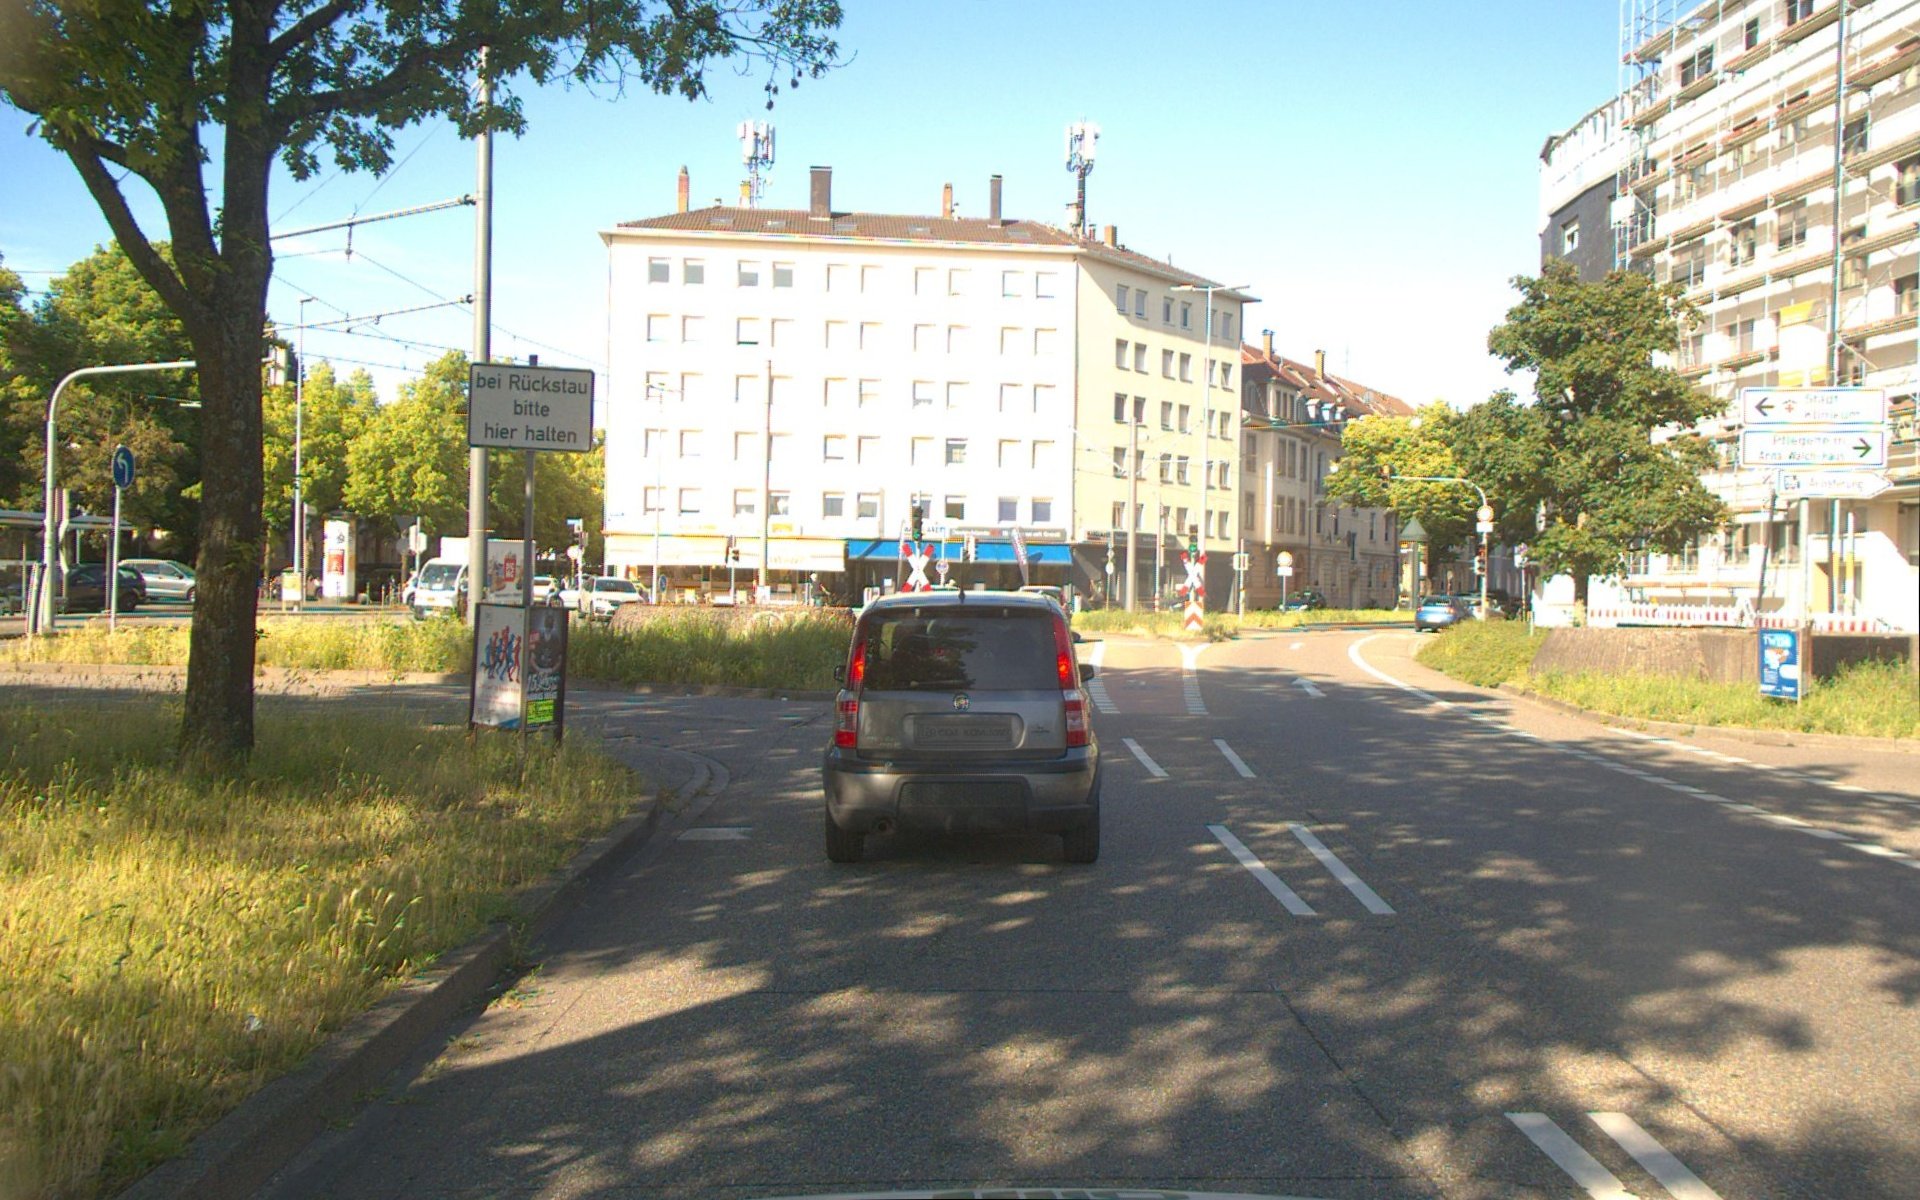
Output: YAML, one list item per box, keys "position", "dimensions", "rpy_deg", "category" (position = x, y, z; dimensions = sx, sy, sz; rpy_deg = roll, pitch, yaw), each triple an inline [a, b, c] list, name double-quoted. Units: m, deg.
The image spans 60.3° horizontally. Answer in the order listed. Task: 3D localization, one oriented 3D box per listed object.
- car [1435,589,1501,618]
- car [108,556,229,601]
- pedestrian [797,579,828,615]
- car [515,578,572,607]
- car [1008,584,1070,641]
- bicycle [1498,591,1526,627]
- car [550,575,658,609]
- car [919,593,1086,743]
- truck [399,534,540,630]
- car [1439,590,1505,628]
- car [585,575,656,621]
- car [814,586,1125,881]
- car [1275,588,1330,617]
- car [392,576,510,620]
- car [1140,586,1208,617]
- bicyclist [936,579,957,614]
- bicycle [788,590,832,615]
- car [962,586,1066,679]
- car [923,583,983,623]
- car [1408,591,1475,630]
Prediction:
- position: [29.843, 0.184, 97.328]
  dimensions: [1.873, 1.621, 3.984]
  rpy_deg: [1, 1, -15]
  category: "car"
- position: [-30.758, -0.824, 64.402]
  dimensions: [3.922, 1.599, 1.992]
  rpy_deg: [1, 0, -16]
  category: "car"
- position: [-6.012, -0.119, 67.454]
  dimensions: [0.923, 1.452, 0.771]
  rpy_deg: [2, -1, 44]
  category: "pedestrian"
- position: [-20.740, -0.383, 82.499]
  dimensions: [1.953, 1.333, 3.998]
  rpy_deg: [1, 0, -2]
  category: "car"
- position: [2.165, 0.304, 44.967]
  dimensions: [1.611, 1.463, 3.397]
  rpy_deg: [1, 0, 3]
  category: "car"
- position: [23.812, 0.378, 71.314]
  dimensions: [0.562, 1.537, 2.801]
  rpy_deg: [1, 0, 31]
  category: "bicycle"
- position: [-14.910, -0.329, 69.278]
  dimensions: [3.902, 1.264, 2.002]
  rpy_deg: [2, 0, 14]
  category: "car"
- position: [0.377, 0.670, 18.301]
  dimensions: [1.588, 1.454, 3.687]
  rpy_deg: [1, 0, -2]
  category: "car"
- position: [-13.314, -0.489, 45.179]
  dimensions: [1.750, 2.469, 4.113]
  rpy_deg: [1, 0, 15]
  category: "truck"
- position: [21.866, 0.376, 70.499]
  dimensions: [1.786, 1.534, 3.991]
  rpy_deg: [1, 1, 31]
  category: "car"
- position: [-11.544, -0.095, 56.463]
  dimensions: [1.629, 1.474, 4.401]
  rpy_deg: [1, 0, -2]
  category: "car"
- position: [0.039, 0.696, 10.416]
  dimensions: [1.626, 1.536, 3.251]
  rpy_deg: [1, 0, -1]
  category: "car"
- position: [19.075, 0.135, 92.046]
  dimensions: [1.758, 1.593, 3.756]
  rpy_deg: [1, 1, 33]
  category: "car"
- position: [-19.702, -0.081, 64.099]
  dimensions: [3.903, 1.599, 2.001]
  rpy_deg: [1, 0, 17]
  category: "car"
- position: [10.181, 0.066, 78.547]
  dimensions: [1.758, 1.420, 3.715]
  rpy_deg: [1, 1, 33]
  category: "car"
- position: [-0.602, -0.169, 75.522]
  dimensions: [0.804, 1.586, 0.562]
  rpy_deg: [1, 0, 21]
  category: "bicyclist"
- position: [-6.132, 0.090, 67.550]
  dimensions: [1.824, 0.968, 0.780]
  rpy_deg: [2, -1, 43]
  category: "bicycle"
- position: [1.036, 0.527, 29.875]
  dimensions: [1.723, 1.512, 4.295]
  rpy_deg: [1, 0, 4]
  category: "car"
- position: [-0.281, 0.095, 56.089]
  dimensions: [1.658, 1.275, 3.621]
  rpy_deg: [1, 0, -6]
  category: "car"
- position: [19.331, 0.382, 66.271]
  dimensions: [1.742, 1.468, 3.611]
  rpy_deg: [2, 1, 30]
  category: "car"
